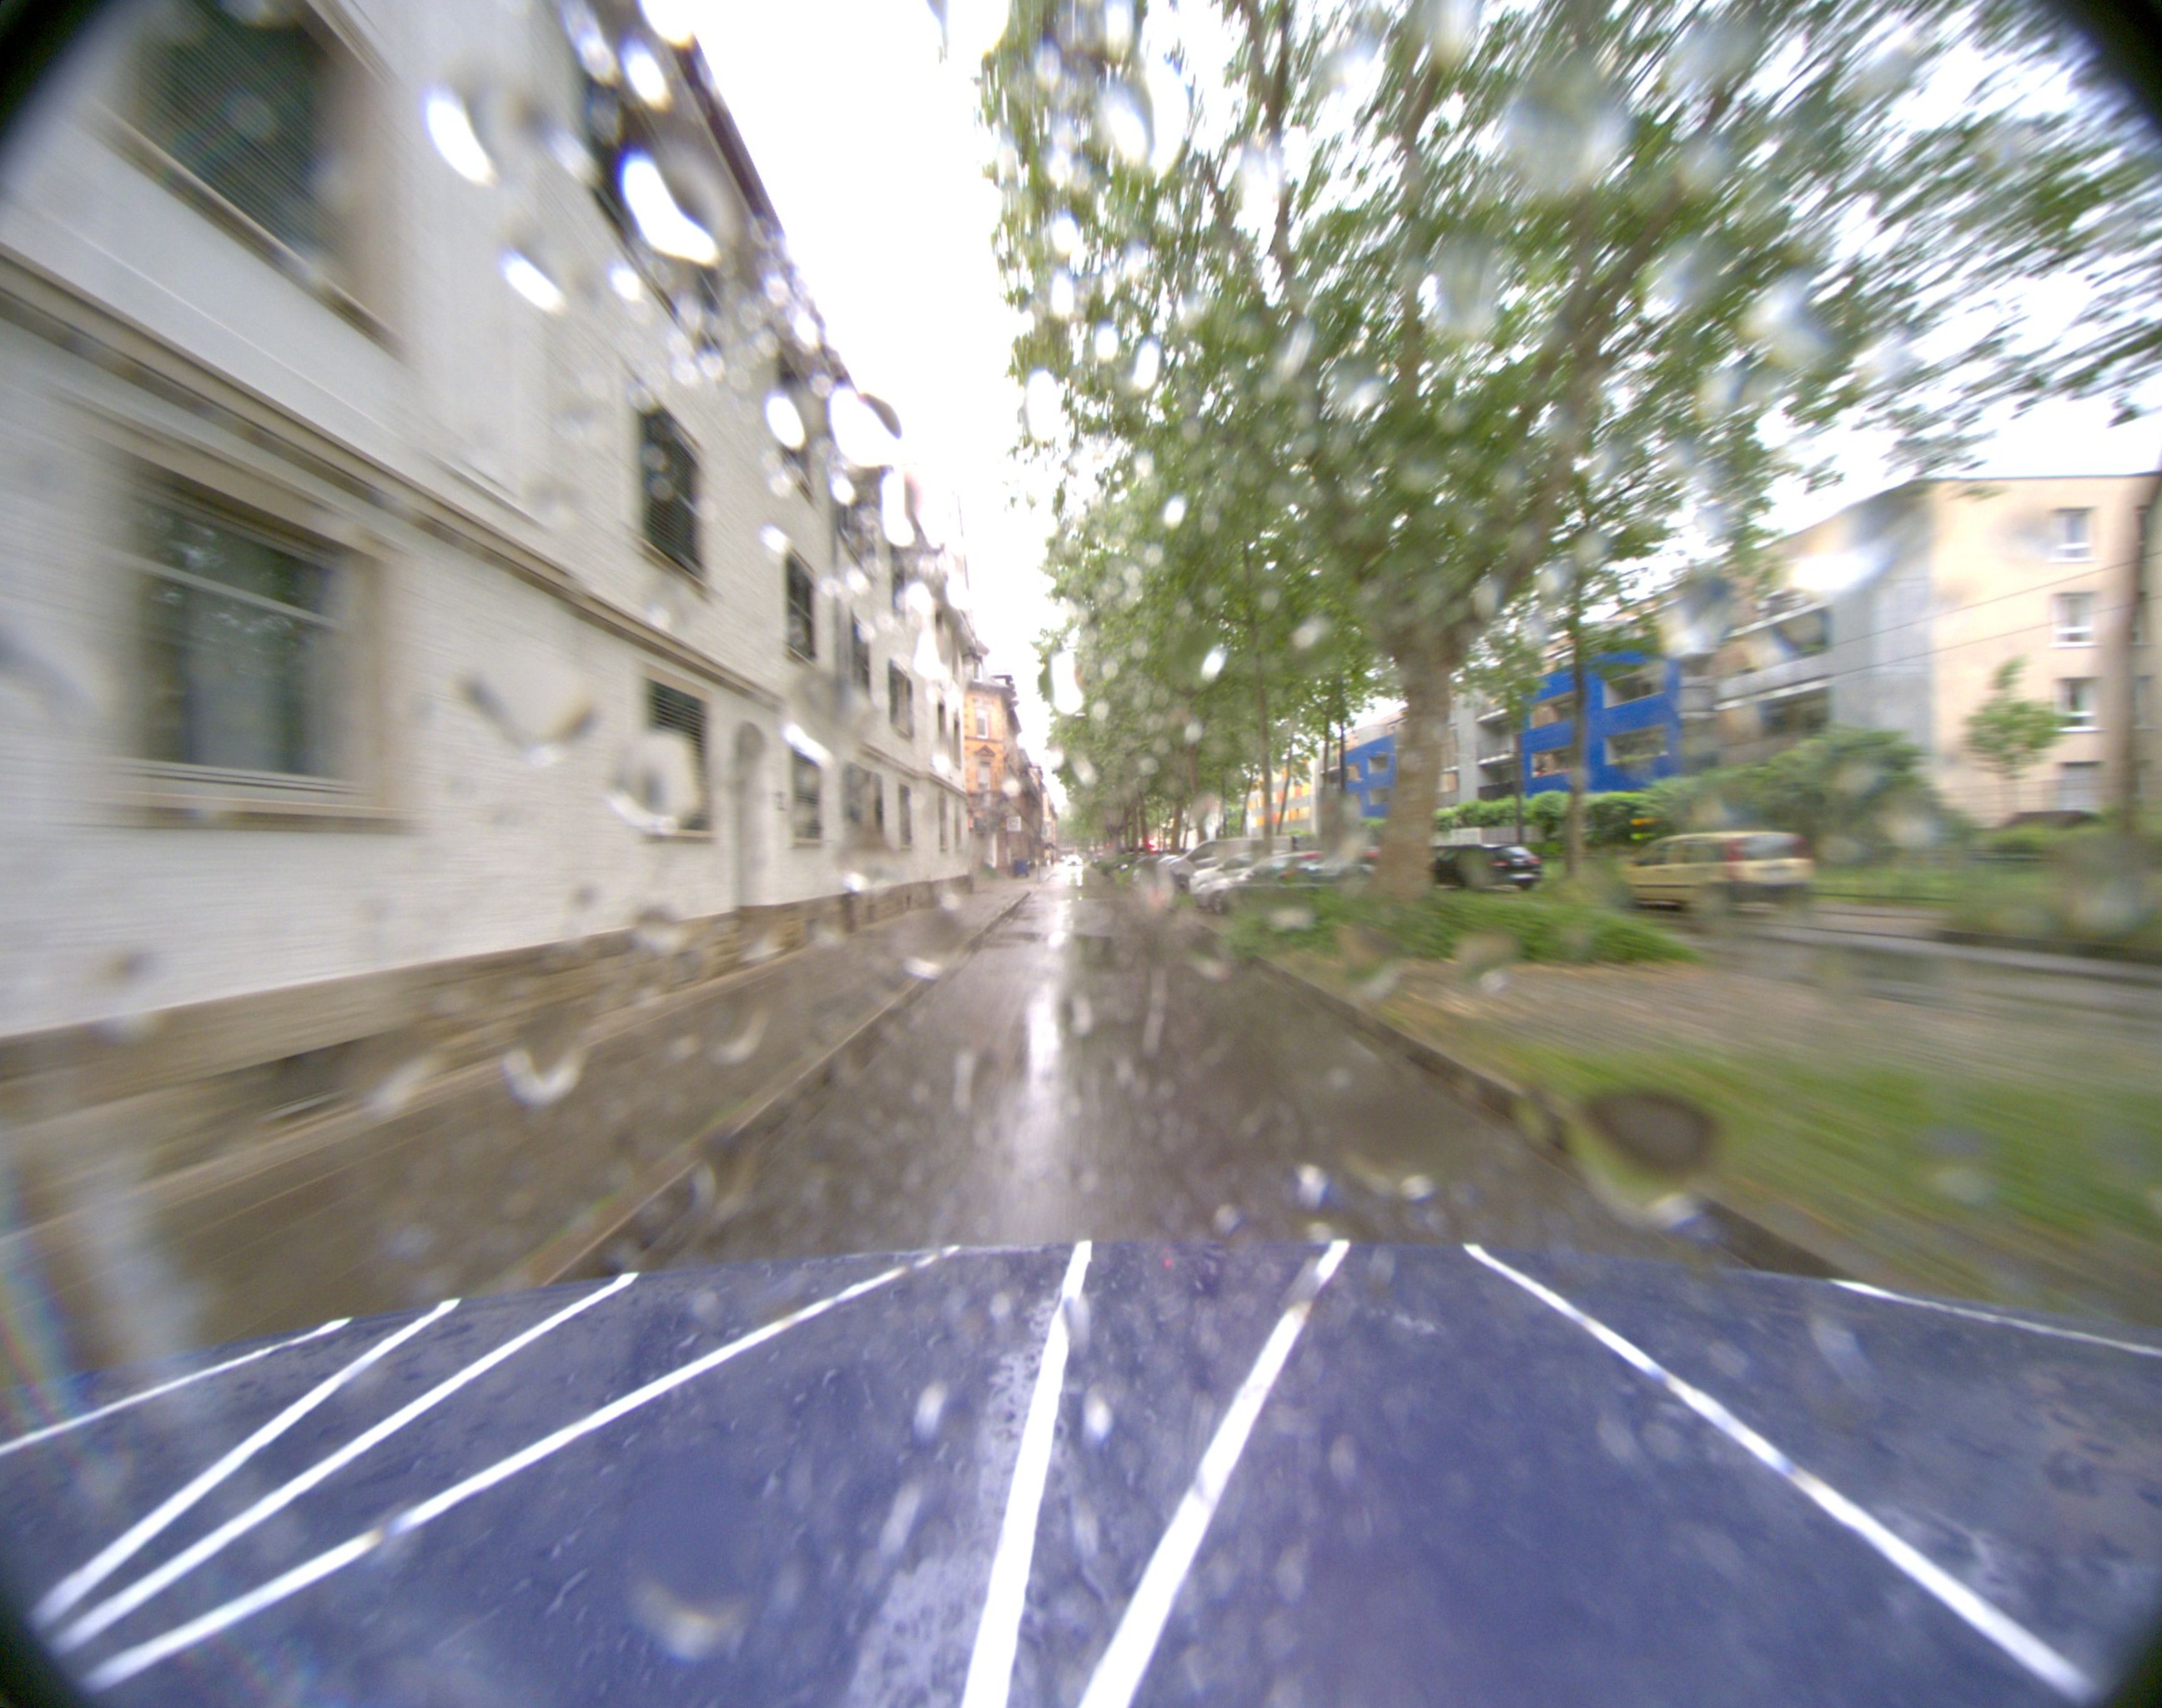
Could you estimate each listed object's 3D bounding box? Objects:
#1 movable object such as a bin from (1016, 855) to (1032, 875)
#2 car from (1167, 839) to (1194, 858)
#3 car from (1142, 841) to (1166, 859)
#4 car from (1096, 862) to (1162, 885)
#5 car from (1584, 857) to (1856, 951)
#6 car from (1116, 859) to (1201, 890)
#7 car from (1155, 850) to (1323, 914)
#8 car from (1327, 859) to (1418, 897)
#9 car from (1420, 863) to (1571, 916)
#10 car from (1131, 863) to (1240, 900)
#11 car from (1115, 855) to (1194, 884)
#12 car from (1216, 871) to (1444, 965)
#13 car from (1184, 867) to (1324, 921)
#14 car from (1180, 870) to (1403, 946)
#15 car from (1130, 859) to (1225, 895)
[{"bbox_3d":[-3.978,0.761,52.925,1.024,1.294,1.367,2,0,-1],"label":"movable object such as a bin"},{"bbox_3d":[11.764,-0.628,90.167,2.060,1.985,5.432,-4,0,-4],"label":"car"},{"bbox_3d":[8.699,-0.479,91.264,2.043,1.988,5.158,-2,0,-3],"label":"car"},{"bbox_3d":[3.382,1.365,53.838,4.220,1.471,1.747,-3,0,27],"label":"car"},{"bbox_3d":[12.259,0.868,15.001,1.998,1.499,3.999,-2,1,0],"label":"car"},{"bbox_3d":[4.447,1.189,43.715,4.407,1.650,1.933,-1,0,27],"label":"car"},{"bbox_3d":[5.293,0.865,25.647,5.118,1.966,2.107,0,1,30],"label":"car"},{"bbox_3d":[12.266,0.965,32.269,1.999,1.412,3.990,-3,0,-6],"label":"car"},{"bbox_3d":[12.188,0.984,22.715,1.999,1.411,4.271,-1,-1,-3],"label":"car"},{"bbox_3d":[4.509,1.182,33.000,4.306,1.428,1.750,-3,0,26],"label":"car"},{"bbox_3d":[4.485,0.899,46.593,4.405,1.636,1.875,0,1,31],"label":"car"},{"bbox_3d":[4.693,1.107,14.417,3.807,1.512,1.726,0,1,31],"label":"car"},{"bbox_3d":[5.221,1.140,22.978,3.776,1.473,1.726,0,1,31],"label":"car"},{"bbox_3d":[4.717,1.124,17.218,4.548,1.473,1.778,0,1,30],"label":"car"},{"bbox_3d":[4.534,1.080,35.854,4.060,1.490,1.750,-3,0,23],"label":"car"}]
